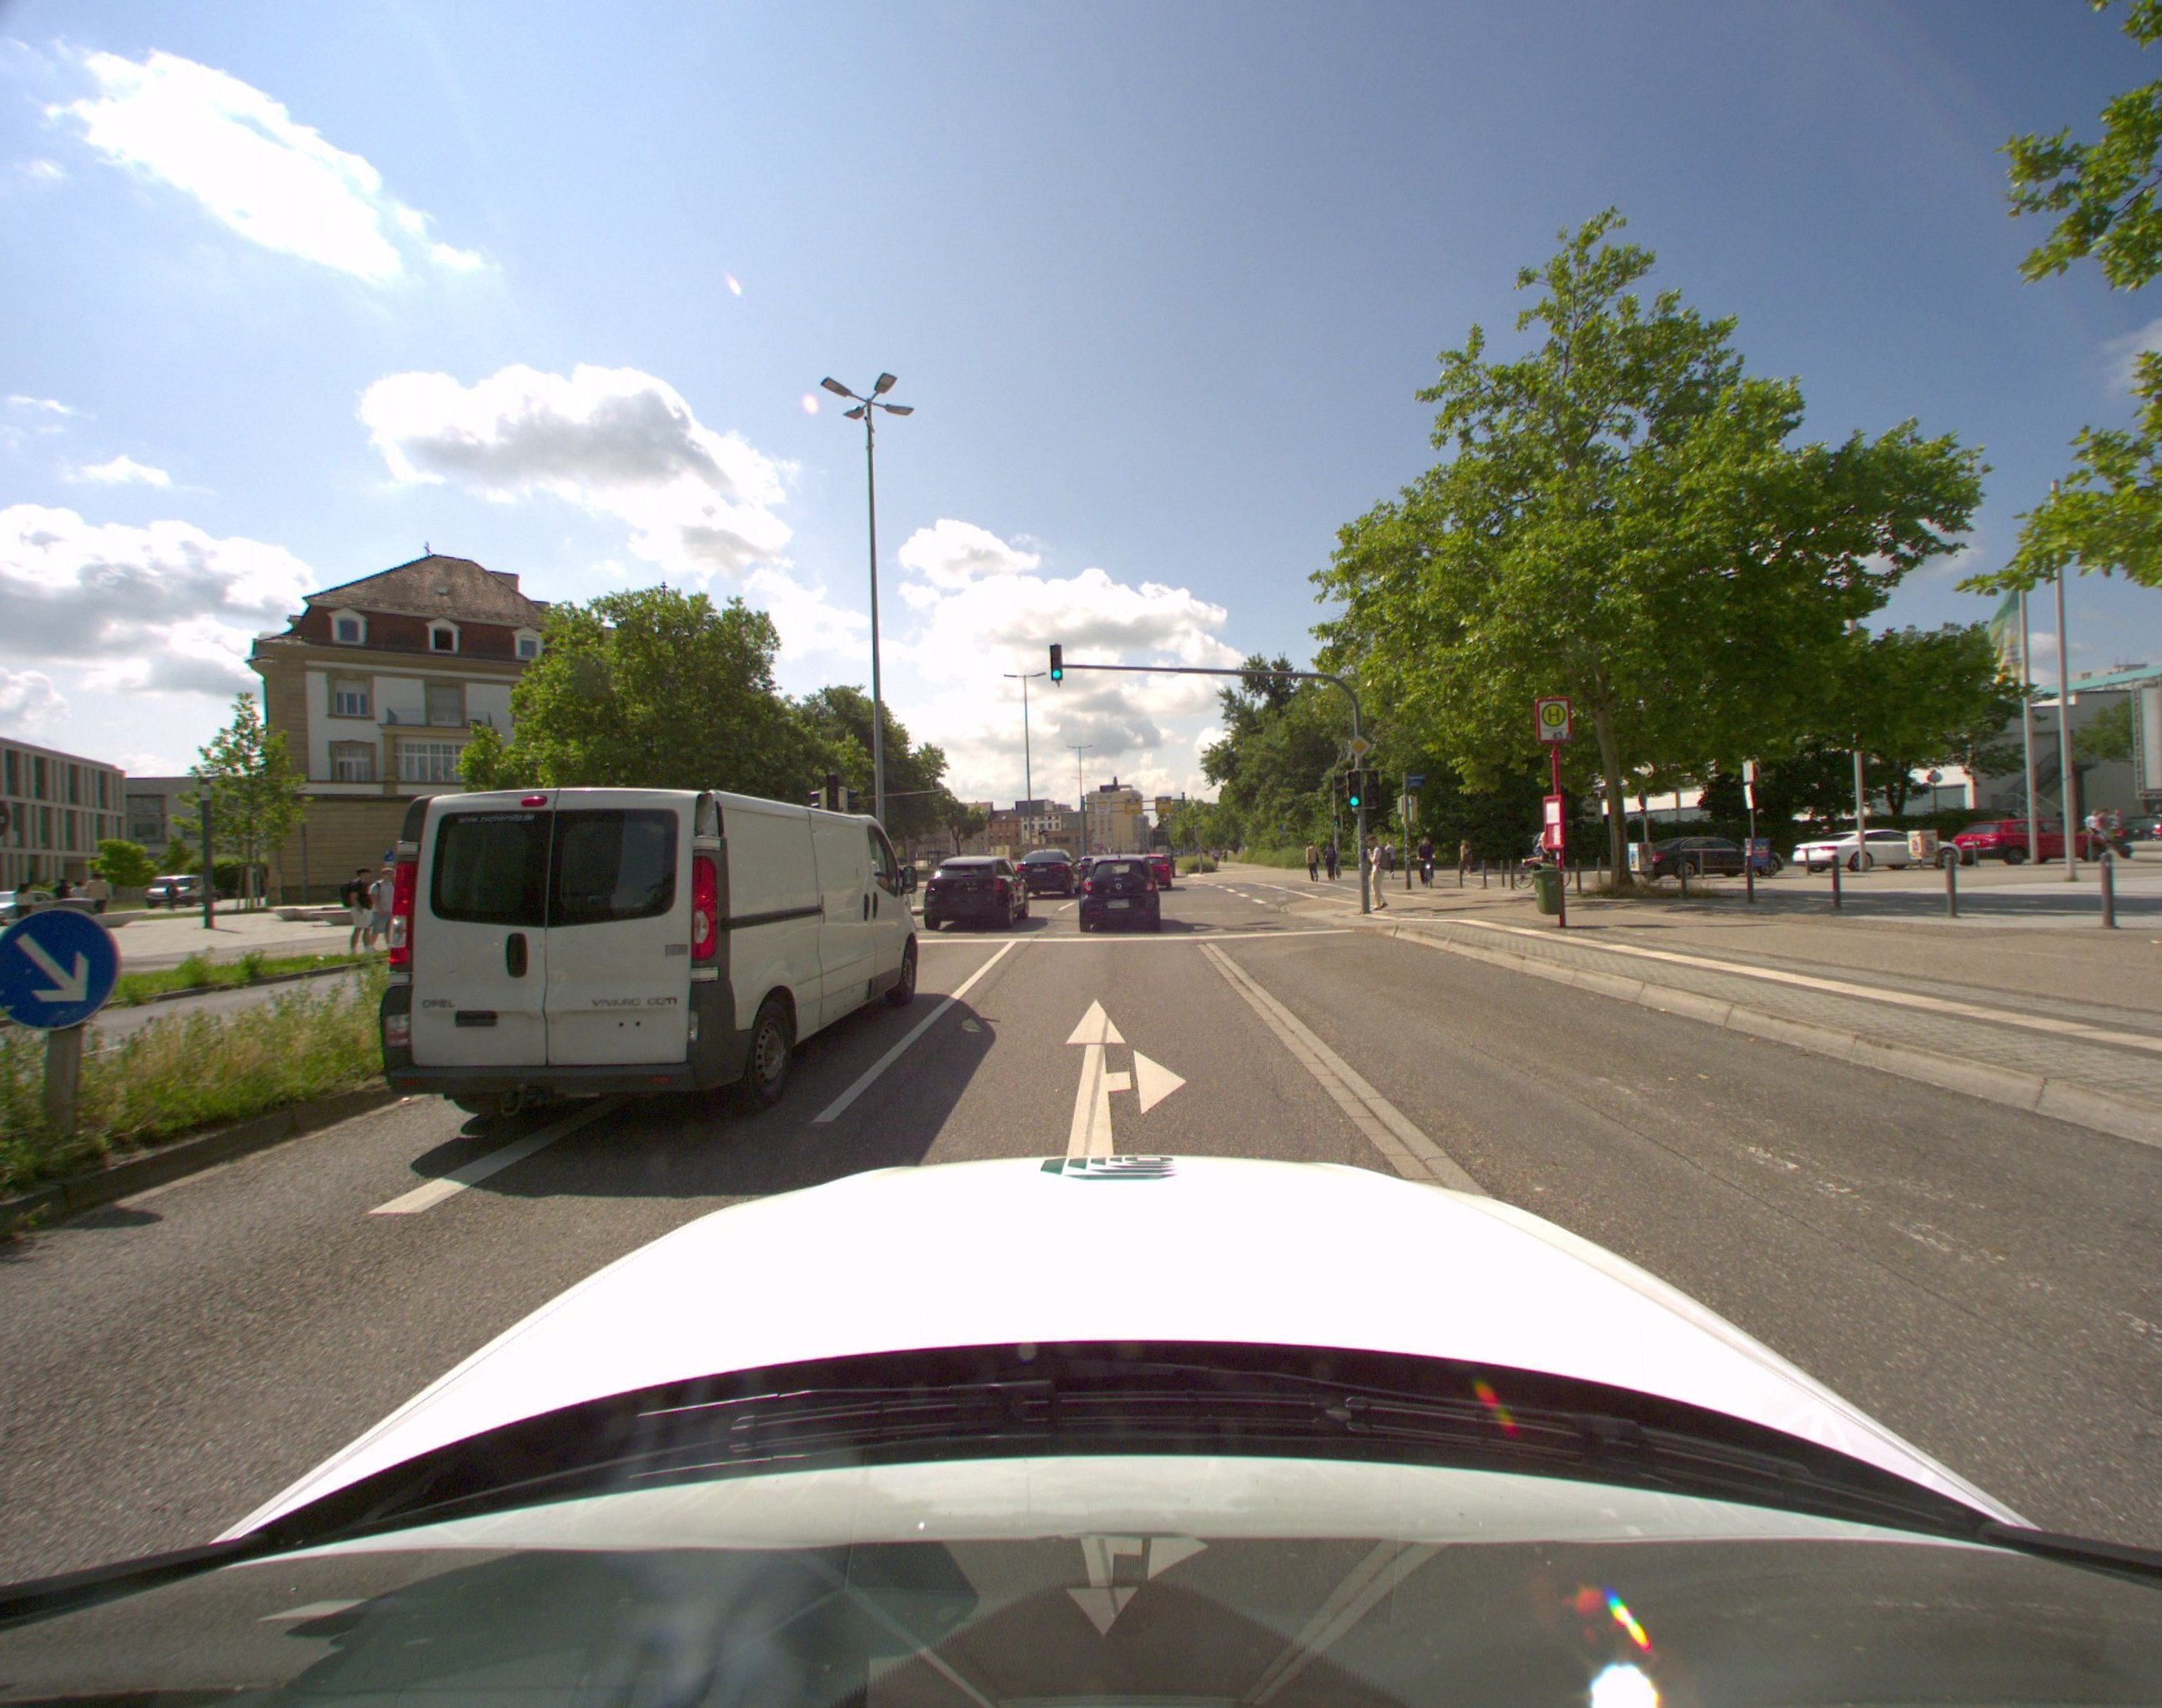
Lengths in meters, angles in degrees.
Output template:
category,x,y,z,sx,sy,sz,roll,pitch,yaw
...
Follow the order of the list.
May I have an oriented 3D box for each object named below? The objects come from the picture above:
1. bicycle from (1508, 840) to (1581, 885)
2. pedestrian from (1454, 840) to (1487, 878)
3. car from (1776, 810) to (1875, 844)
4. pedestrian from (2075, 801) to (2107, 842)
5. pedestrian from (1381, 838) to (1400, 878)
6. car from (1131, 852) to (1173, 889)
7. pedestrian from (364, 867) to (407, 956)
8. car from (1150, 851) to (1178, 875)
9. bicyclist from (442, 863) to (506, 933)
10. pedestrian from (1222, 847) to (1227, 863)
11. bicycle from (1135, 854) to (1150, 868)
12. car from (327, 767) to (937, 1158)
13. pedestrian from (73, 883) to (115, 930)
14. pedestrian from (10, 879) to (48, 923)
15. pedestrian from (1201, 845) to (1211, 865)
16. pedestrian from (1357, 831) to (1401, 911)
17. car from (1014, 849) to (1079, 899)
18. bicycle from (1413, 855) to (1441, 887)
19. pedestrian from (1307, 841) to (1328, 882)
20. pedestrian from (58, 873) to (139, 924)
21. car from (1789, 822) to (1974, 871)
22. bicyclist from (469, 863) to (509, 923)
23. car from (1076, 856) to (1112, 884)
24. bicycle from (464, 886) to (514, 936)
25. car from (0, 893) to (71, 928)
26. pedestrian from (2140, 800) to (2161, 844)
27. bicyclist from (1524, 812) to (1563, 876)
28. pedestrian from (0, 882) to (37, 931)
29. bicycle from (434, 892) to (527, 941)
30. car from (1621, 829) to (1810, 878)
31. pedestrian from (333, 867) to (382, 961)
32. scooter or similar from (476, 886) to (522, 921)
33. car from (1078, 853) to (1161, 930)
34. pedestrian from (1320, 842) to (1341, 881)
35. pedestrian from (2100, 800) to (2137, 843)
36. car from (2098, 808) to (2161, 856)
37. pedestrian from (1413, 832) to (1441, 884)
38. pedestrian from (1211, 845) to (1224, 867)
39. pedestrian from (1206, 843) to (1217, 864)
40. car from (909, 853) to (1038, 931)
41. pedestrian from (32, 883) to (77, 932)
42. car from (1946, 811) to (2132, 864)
category,x,y,z,sx,sy,sz,roll,pitch,yaw
bicycle,13.713,0.253,24.160,0.663,1.296,1.860,0,-1,-22
pedestrian,17.316,0.222,36.242,0.853,1.626,1.018,-3,1,-7
car,47.351,-1.651,51.975,1.985,1.986,4.941,-1,0,3
pedestrian,47.780,-1.520,38.545,0.586,1.925,0.790,-2,0,23
pedestrian,14.136,0.180,37.189,0.666,1.820,0.706,-2,0,12
car,2.869,0.644,33.060,1.604,1.411,3.521,0,0,4
pedestrian,-14.768,1.196,17.297,0.413,1.842,0.574,-1,-1,-4
car,5.141,0.551,50.801,1.604,1.411,3.521,0,0,4
bicyclist,-14.609,1.047,19.633,0.995,1.615,0.655,-2,0,-8
pedestrian,16.345,0.112,92.744,0.500,1.890,0.560,-1,-1,1
bicycle,8.883,1.032,118.509,1.986,2.014,4.002,-1,0,2
car,-2.766,0.554,6.761,1.998,1.955,5.196,-1,0,2
pedestrian,-39.126,2.064,32.280,0.833,1.790,0.871,-2,0,28
pedestrian,-44.152,1.968,34.173,0.680,1.790,0.835,-2,0,-31
pedestrian,12.636,0.140,82.501,0.835,1.969,0.861,-2,0,2
pedestrian,6.947,0.392,18.969,0.598,1.800,0.604,-4,0,-33
car,-1.159,0.651,29.281,1.819,1.601,4.398,-1,0,4
bicycle,12.367,0.596,29.179,0.808,1.072,1.901,-1,1,20
pedestrian,10.262,0.308,35.360,0.790,1.704,1.186,-2,1,12
pedestrian,-33.972,1.522,28.187,1.312,1.651,1.304,-2,0,14
car,26.729,-0.227,27.295,4.409,1.400,1.724,-2,-3,0
bicyclist,-15.738,1.011,21.663,0.658,1.538,0.780,-2,0,-23
car,0.719,0.795,41.977,1.604,1.325,3.521,-2,0,4
bicycle,-15.736,1.487,21.684,0.696,1.124,1.659,-2,3,-23
car,-46.527,2.451,35.287,2.006,1.306,4.450,0,0,-30
pedestrian,47.559,-1.411,35.605,1.013,1.920,1.099,-2,0,2
bicyclist,13.711,-0.290,24.152,0.663,1.845,0.756,0,-1,-22
pedestrian,-40.145,1.968,30.689,0.833,1.790,0.819,-2,0,29
bicycle,-14.461,1.499,19.649,1.665,1.124,0.693,0,-1,-9
car,21.210,0.016,27.361,4.915,1.400,1.724,-2,-2,0
pedestrian,-14.650,1.191,16.503,0.479,1.842,0.630,-1,-1,-13
scooter or similar,-19.150,1.627,26.806,1.153,1.067,0.399,-2,0,-27
car,0.881,0.740,17.702,1.604,1.485,3.521,-1,0,4
pedestrian,11.236,0.307,36.679,0.790,1.704,1.186,-2,1,12
pedestrian,48.521,-1.501,38.098,0.725,1.925,0.789,-2,0,23
car,36.983,-0.786,27.125,3.973,1.529,1.725,-2,-1,1
pedestrian,12.407,0.141,29.243,0.846,1.820,1.182,-1,0,20
pedestrian,10.781,0.159,64.373,0.847,1.701,0.932,-4,-1,4
pedestrian,11.734,-0.072,73.332,0.835,1.868,1.020,-2,0,2
car,-2.309,0.766,18.949,2.008,1.530,4.892,-1,0,4
pedestrian,-39.615,2.060,31.427,0.833,1.790,0.898,-2,0,28
car,31.886,-0.529,27.186,4.118,1.497,1.620,-3,-2,1
